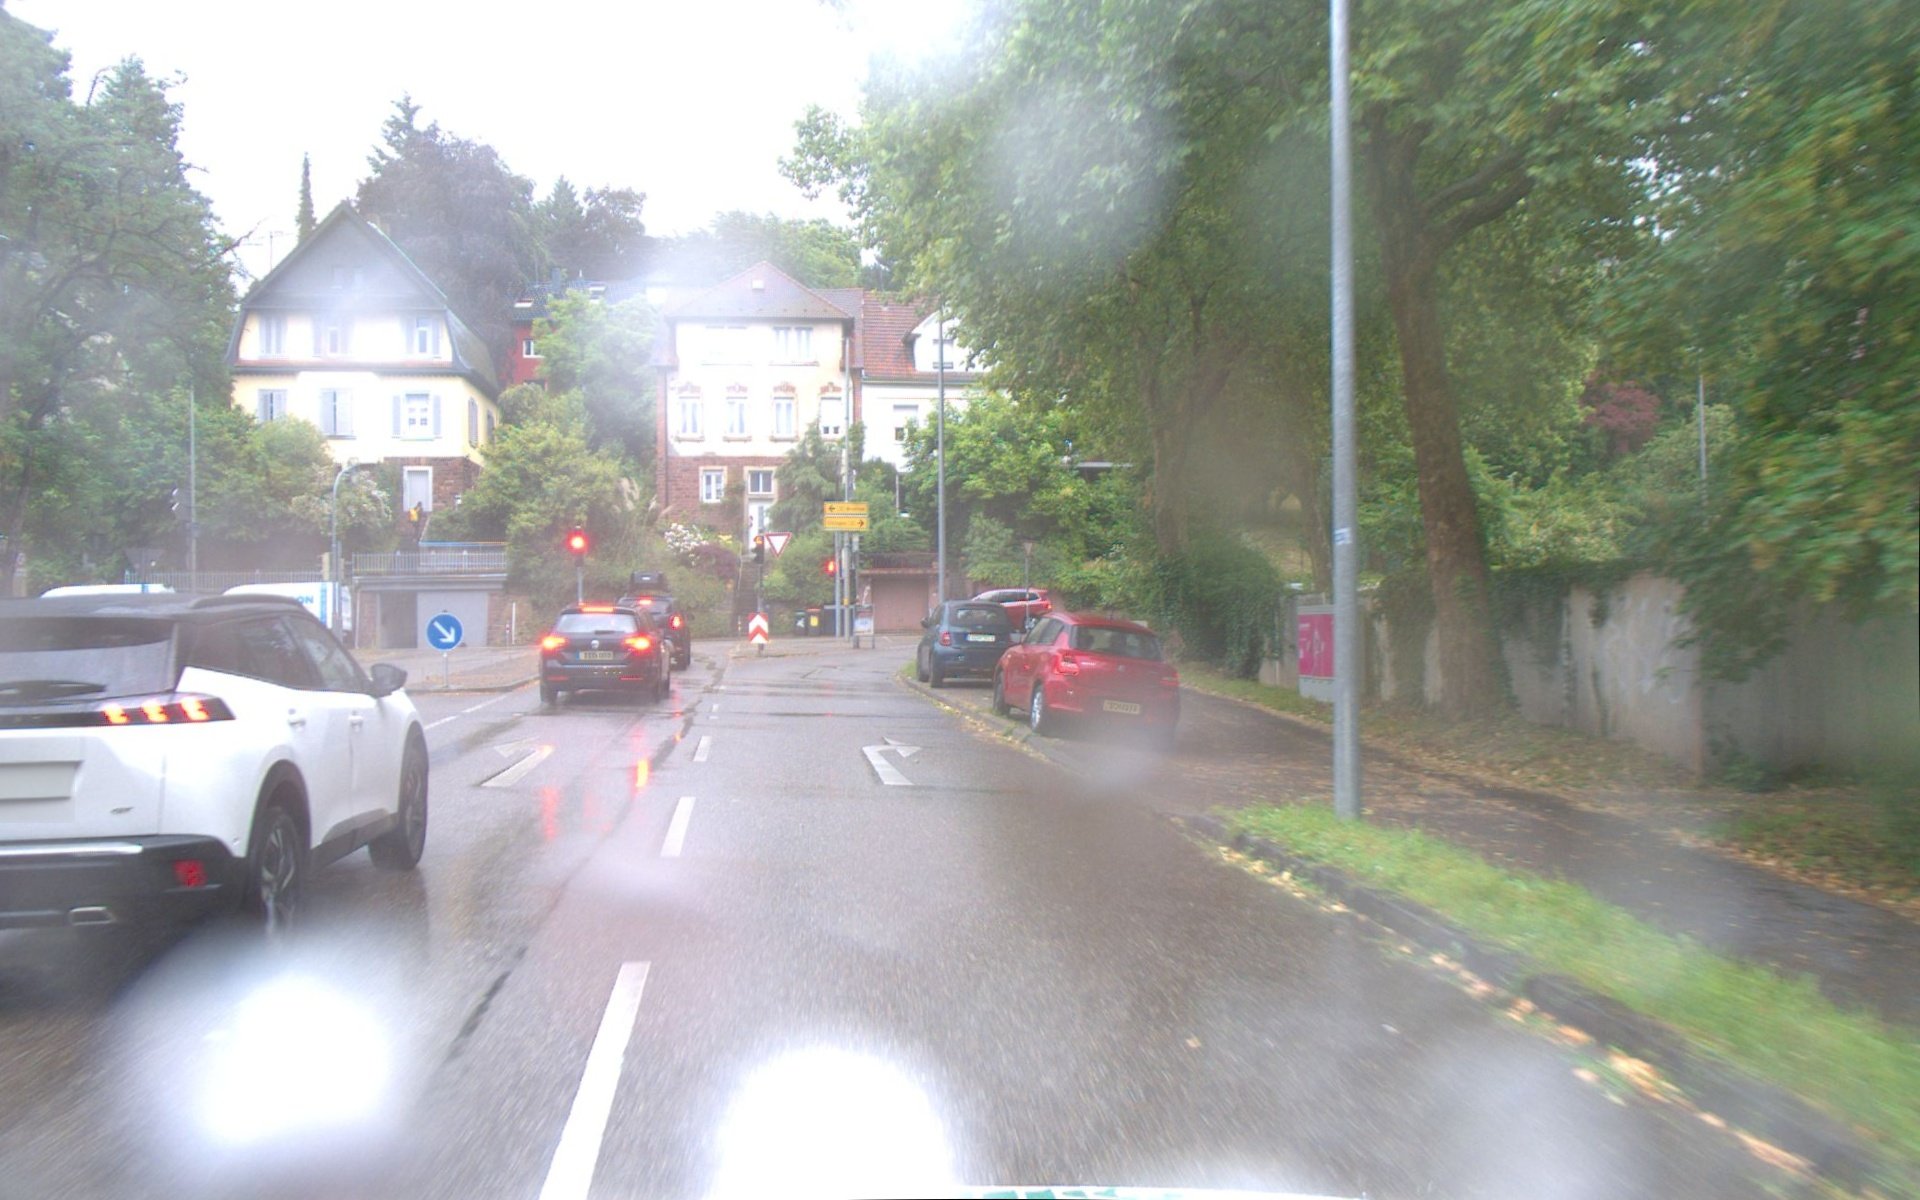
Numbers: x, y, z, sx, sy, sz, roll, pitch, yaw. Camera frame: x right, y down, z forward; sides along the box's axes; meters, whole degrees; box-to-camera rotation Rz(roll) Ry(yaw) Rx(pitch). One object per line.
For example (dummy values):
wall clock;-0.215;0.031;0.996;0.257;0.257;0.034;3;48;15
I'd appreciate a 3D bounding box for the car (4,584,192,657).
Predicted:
car;-30.957;0.757;59.543;5.455;2.538;2.313;1;-2;-6

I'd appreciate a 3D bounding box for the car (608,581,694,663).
car;-7.045;0.461;38.075;1.727;1.741;4.592;1;0;-8

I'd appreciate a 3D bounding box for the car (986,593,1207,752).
car;1.614;0.836;20.925;1.787;1.543;3.735;7;0;-9

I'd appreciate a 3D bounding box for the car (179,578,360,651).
car;-24.989;0.556;60.041;5.551;2.538;2.313;1;-2;-6

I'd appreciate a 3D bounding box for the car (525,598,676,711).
car;-5.502;0.772;25.827;1.797;1.482;4.652;2;0;-7

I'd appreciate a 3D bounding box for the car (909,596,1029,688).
car;0.110;0.750;30.441;1.716;1.518;3.594;2;-1;-7

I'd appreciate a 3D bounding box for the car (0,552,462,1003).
car;-3.687;0.639;7.946;1.719;1.563;4.361;-1;0;-7

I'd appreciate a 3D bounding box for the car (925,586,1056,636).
car;1.057;0.392;58.729;4.480;1.629;1.772;-2;-2;-6
